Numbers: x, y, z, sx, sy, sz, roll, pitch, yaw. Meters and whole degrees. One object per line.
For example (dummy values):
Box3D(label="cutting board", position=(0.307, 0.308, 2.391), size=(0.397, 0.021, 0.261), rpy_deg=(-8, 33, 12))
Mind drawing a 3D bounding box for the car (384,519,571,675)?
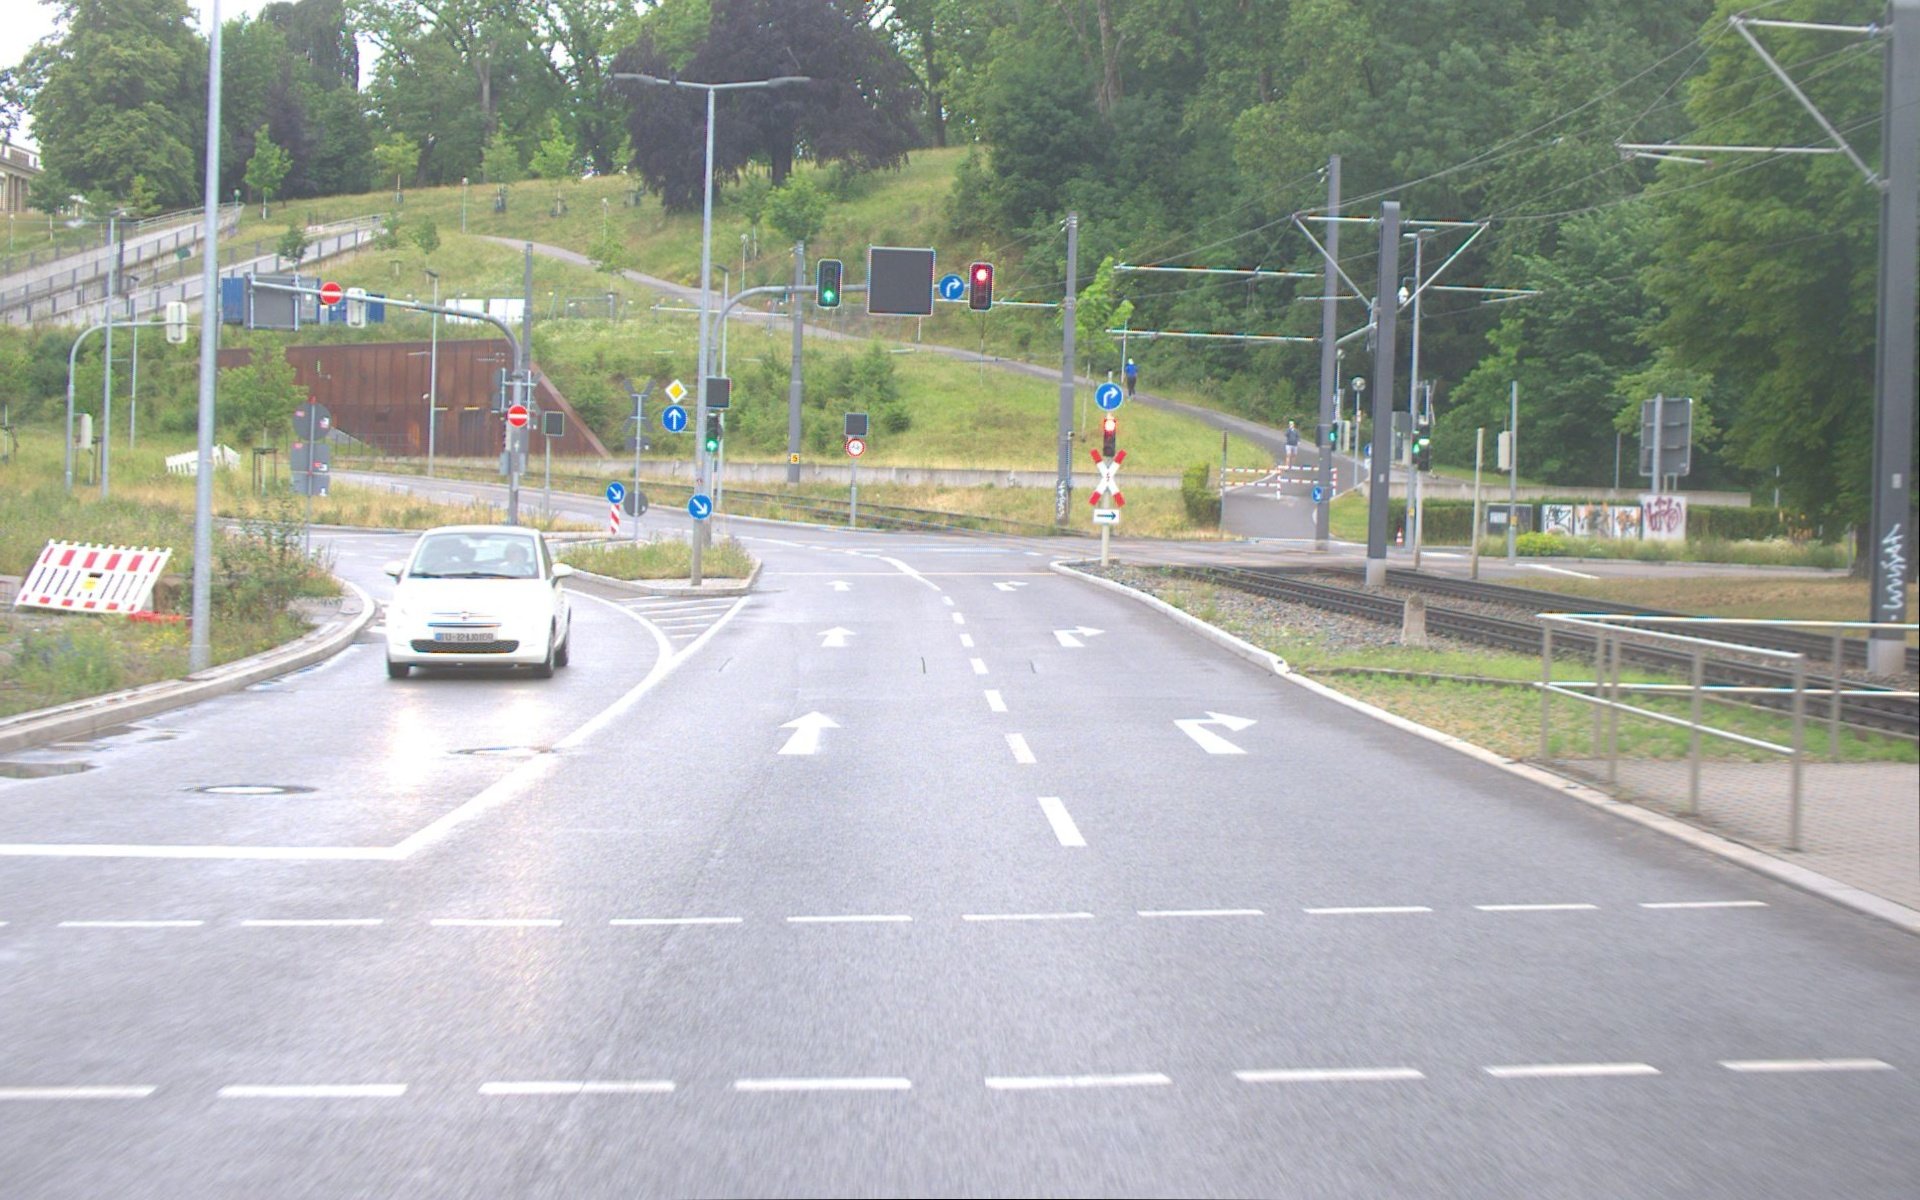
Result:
Box3D(label="car", position=(-4.838, -0.072, 34.824), size=(1.587, 1.486, 3.715), rpy_deg=(0, 1, -3))

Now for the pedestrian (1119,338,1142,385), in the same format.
Box3D(label="pedestrian", position=(7.396, -10.350, 149.126), size=(0.788, 2.006, 0.657), rpy_deg=(-3, 8, -16))

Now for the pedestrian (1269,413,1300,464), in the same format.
Box3D(label="pedestrian", position=(11.844, -5.897, 125.497), size=(0.958, 1.775, 1.122), rpy_deg=(4, 3, 8))
